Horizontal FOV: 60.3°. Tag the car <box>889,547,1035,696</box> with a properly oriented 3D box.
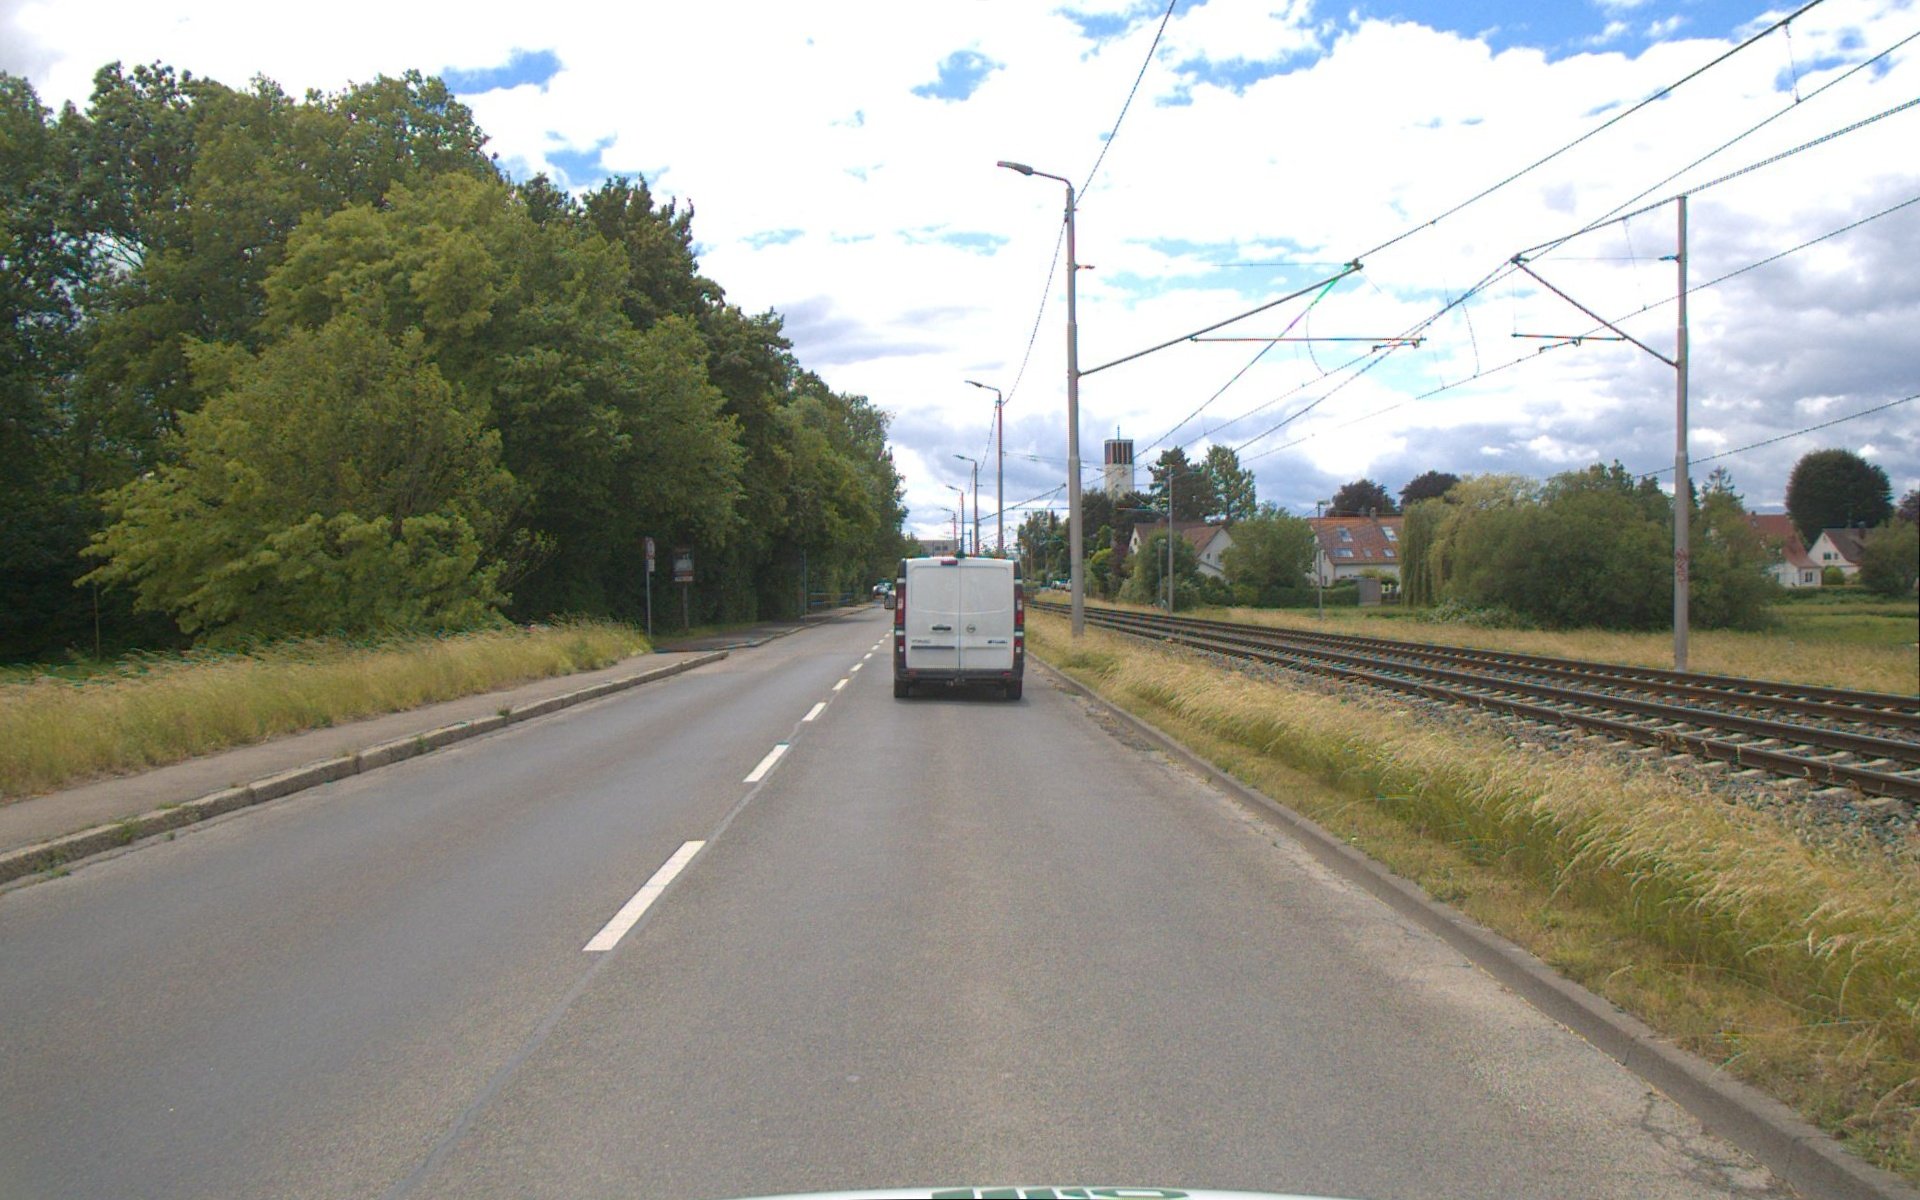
[{"bbox_3d":[-0.042,0.289,24.286,1.953,1.991,3.998,0,0,-2],"label":"car"}]

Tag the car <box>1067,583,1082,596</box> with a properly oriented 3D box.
[{"bbox_3d":[17.858,-1.625,258.026,1.953,1.848,3.998,1,-1,-2],"label":"car"}]

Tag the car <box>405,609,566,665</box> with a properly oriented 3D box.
[{"bbox_3d":[-13.126,1.018,45.882,3.905,1.321,1.745,-3,0,0],"label":"car"}]

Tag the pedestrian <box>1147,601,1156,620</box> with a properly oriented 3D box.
[{"bbox_3d":[15.510,0.817,134.221,0.643,1.532,0.656,-1,0,-2],"label":"pedestrian"}]

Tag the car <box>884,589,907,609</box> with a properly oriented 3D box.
[{"bbox_3d":[-5.781,-0.065,147.961,1.953,1.747,4.122,0,0,-3],"label":"car"}]
